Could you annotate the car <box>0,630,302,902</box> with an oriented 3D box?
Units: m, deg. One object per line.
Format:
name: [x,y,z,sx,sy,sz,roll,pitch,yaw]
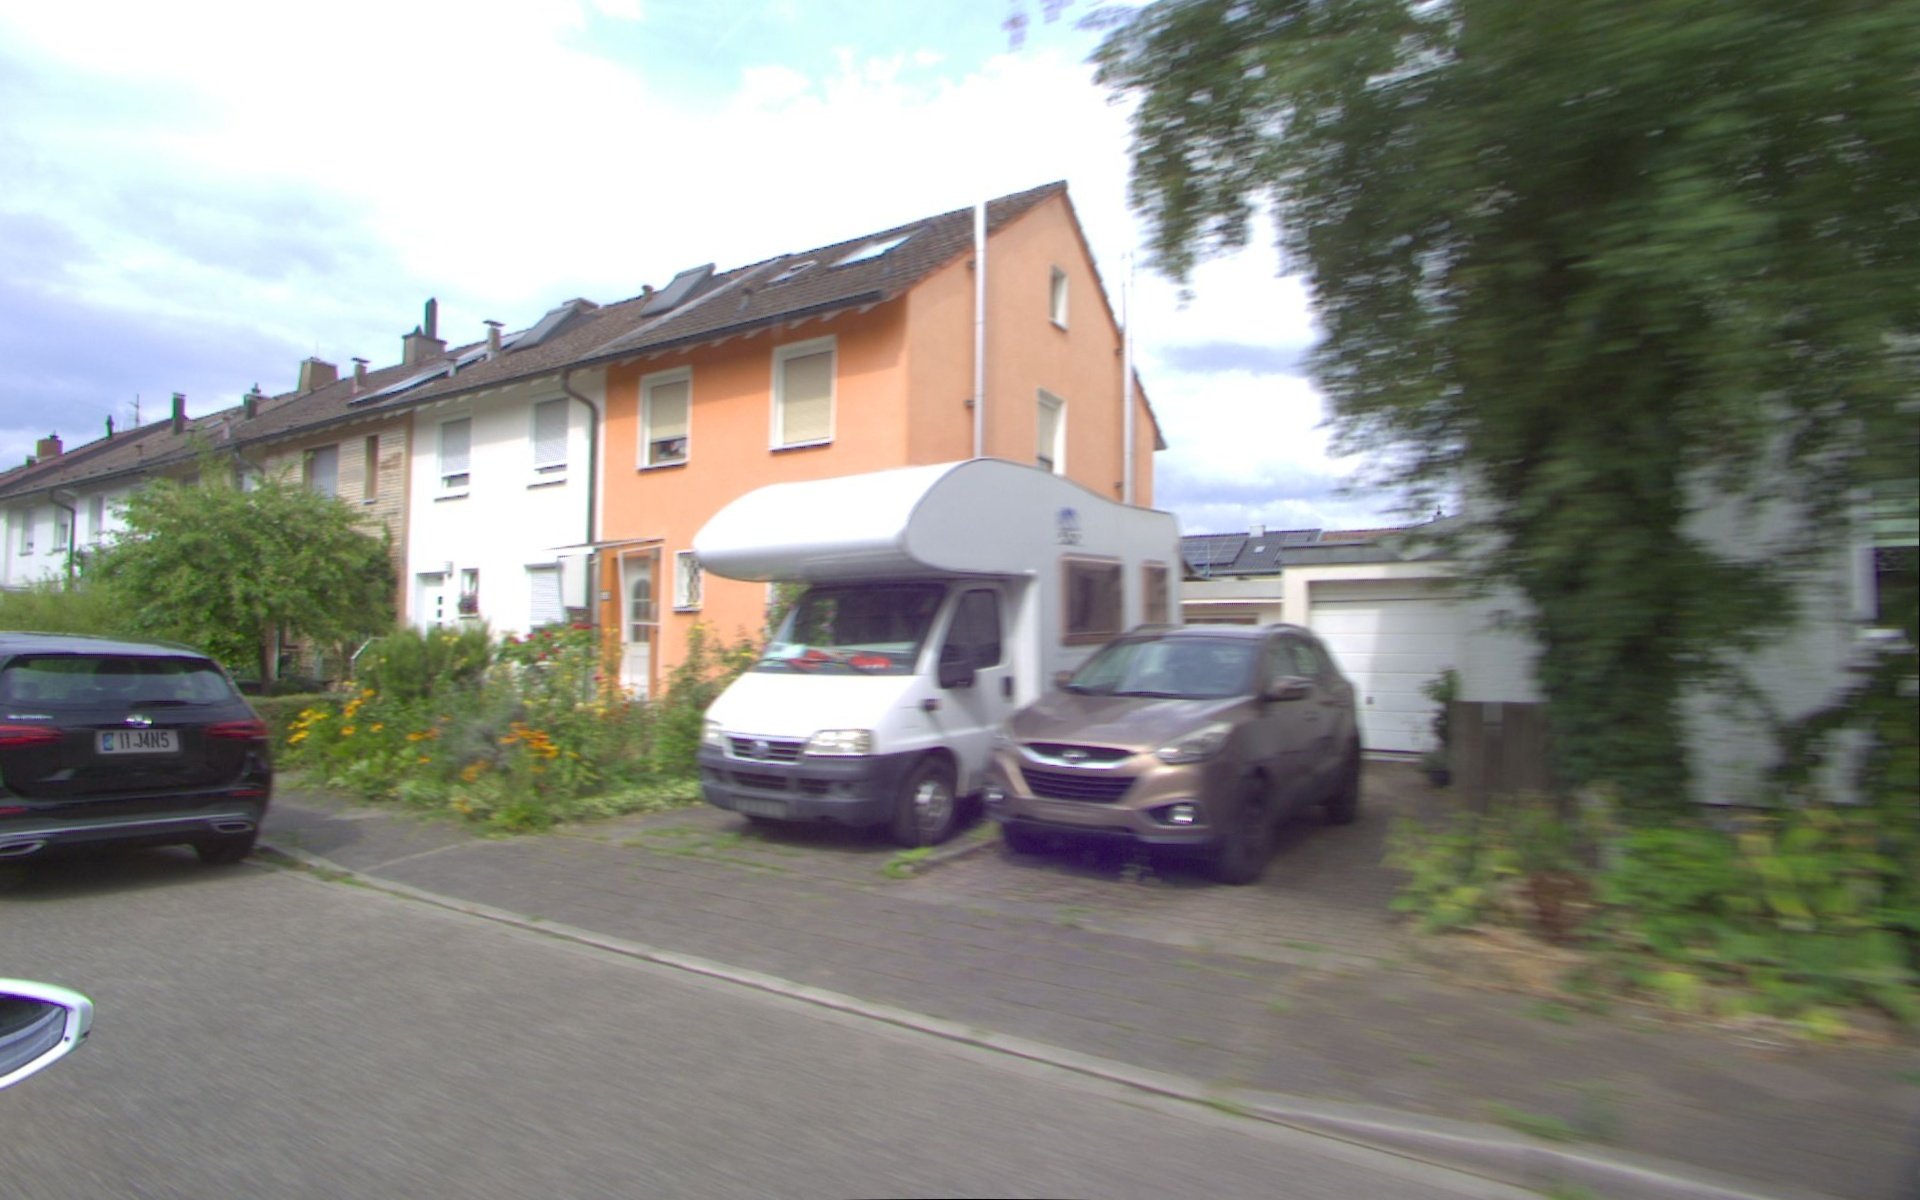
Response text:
car: [-6.865,0.990,7.248,4.581,1.485,1.747,-1,-4,32]

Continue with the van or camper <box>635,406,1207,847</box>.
van or camper: [0.112,0.323,9.582,2.503,2.853,5.786,-1,-3,35]

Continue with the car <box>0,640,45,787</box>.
car: [-11.467,1.116,10.405,4.065,1.445,1.732,-1,-4,30]

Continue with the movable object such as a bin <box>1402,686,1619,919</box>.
movable object such as a bin: [3.314,1.151,6.047,1.084,1.209,0.718,-1,-2,33]

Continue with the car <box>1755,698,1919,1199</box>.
car: [3.367,0.873,0.703,4.158,1.459,1.703,-1,-5,31]

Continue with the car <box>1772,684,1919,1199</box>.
car: [3.364,0.884,0.694,4.158,1.489,1.739,-1,-3,33]

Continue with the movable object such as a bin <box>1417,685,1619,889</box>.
movable object such as a bin: [3.719,1.192,6.703,1.126,1.191,0.652,-1,-2,32]

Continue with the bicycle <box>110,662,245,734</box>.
bicycle: [-11.768,1.455,15.101,0.371,1.035,1.534,-1,-3,37]

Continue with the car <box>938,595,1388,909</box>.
car: [1.913,0.995,7.948,1.874,1.728,4.522,-1,-4,35]

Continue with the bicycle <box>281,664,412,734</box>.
bicycle: [-9.346,1.490,15.272,1.720,0.994,0.661,0,-2,13]
